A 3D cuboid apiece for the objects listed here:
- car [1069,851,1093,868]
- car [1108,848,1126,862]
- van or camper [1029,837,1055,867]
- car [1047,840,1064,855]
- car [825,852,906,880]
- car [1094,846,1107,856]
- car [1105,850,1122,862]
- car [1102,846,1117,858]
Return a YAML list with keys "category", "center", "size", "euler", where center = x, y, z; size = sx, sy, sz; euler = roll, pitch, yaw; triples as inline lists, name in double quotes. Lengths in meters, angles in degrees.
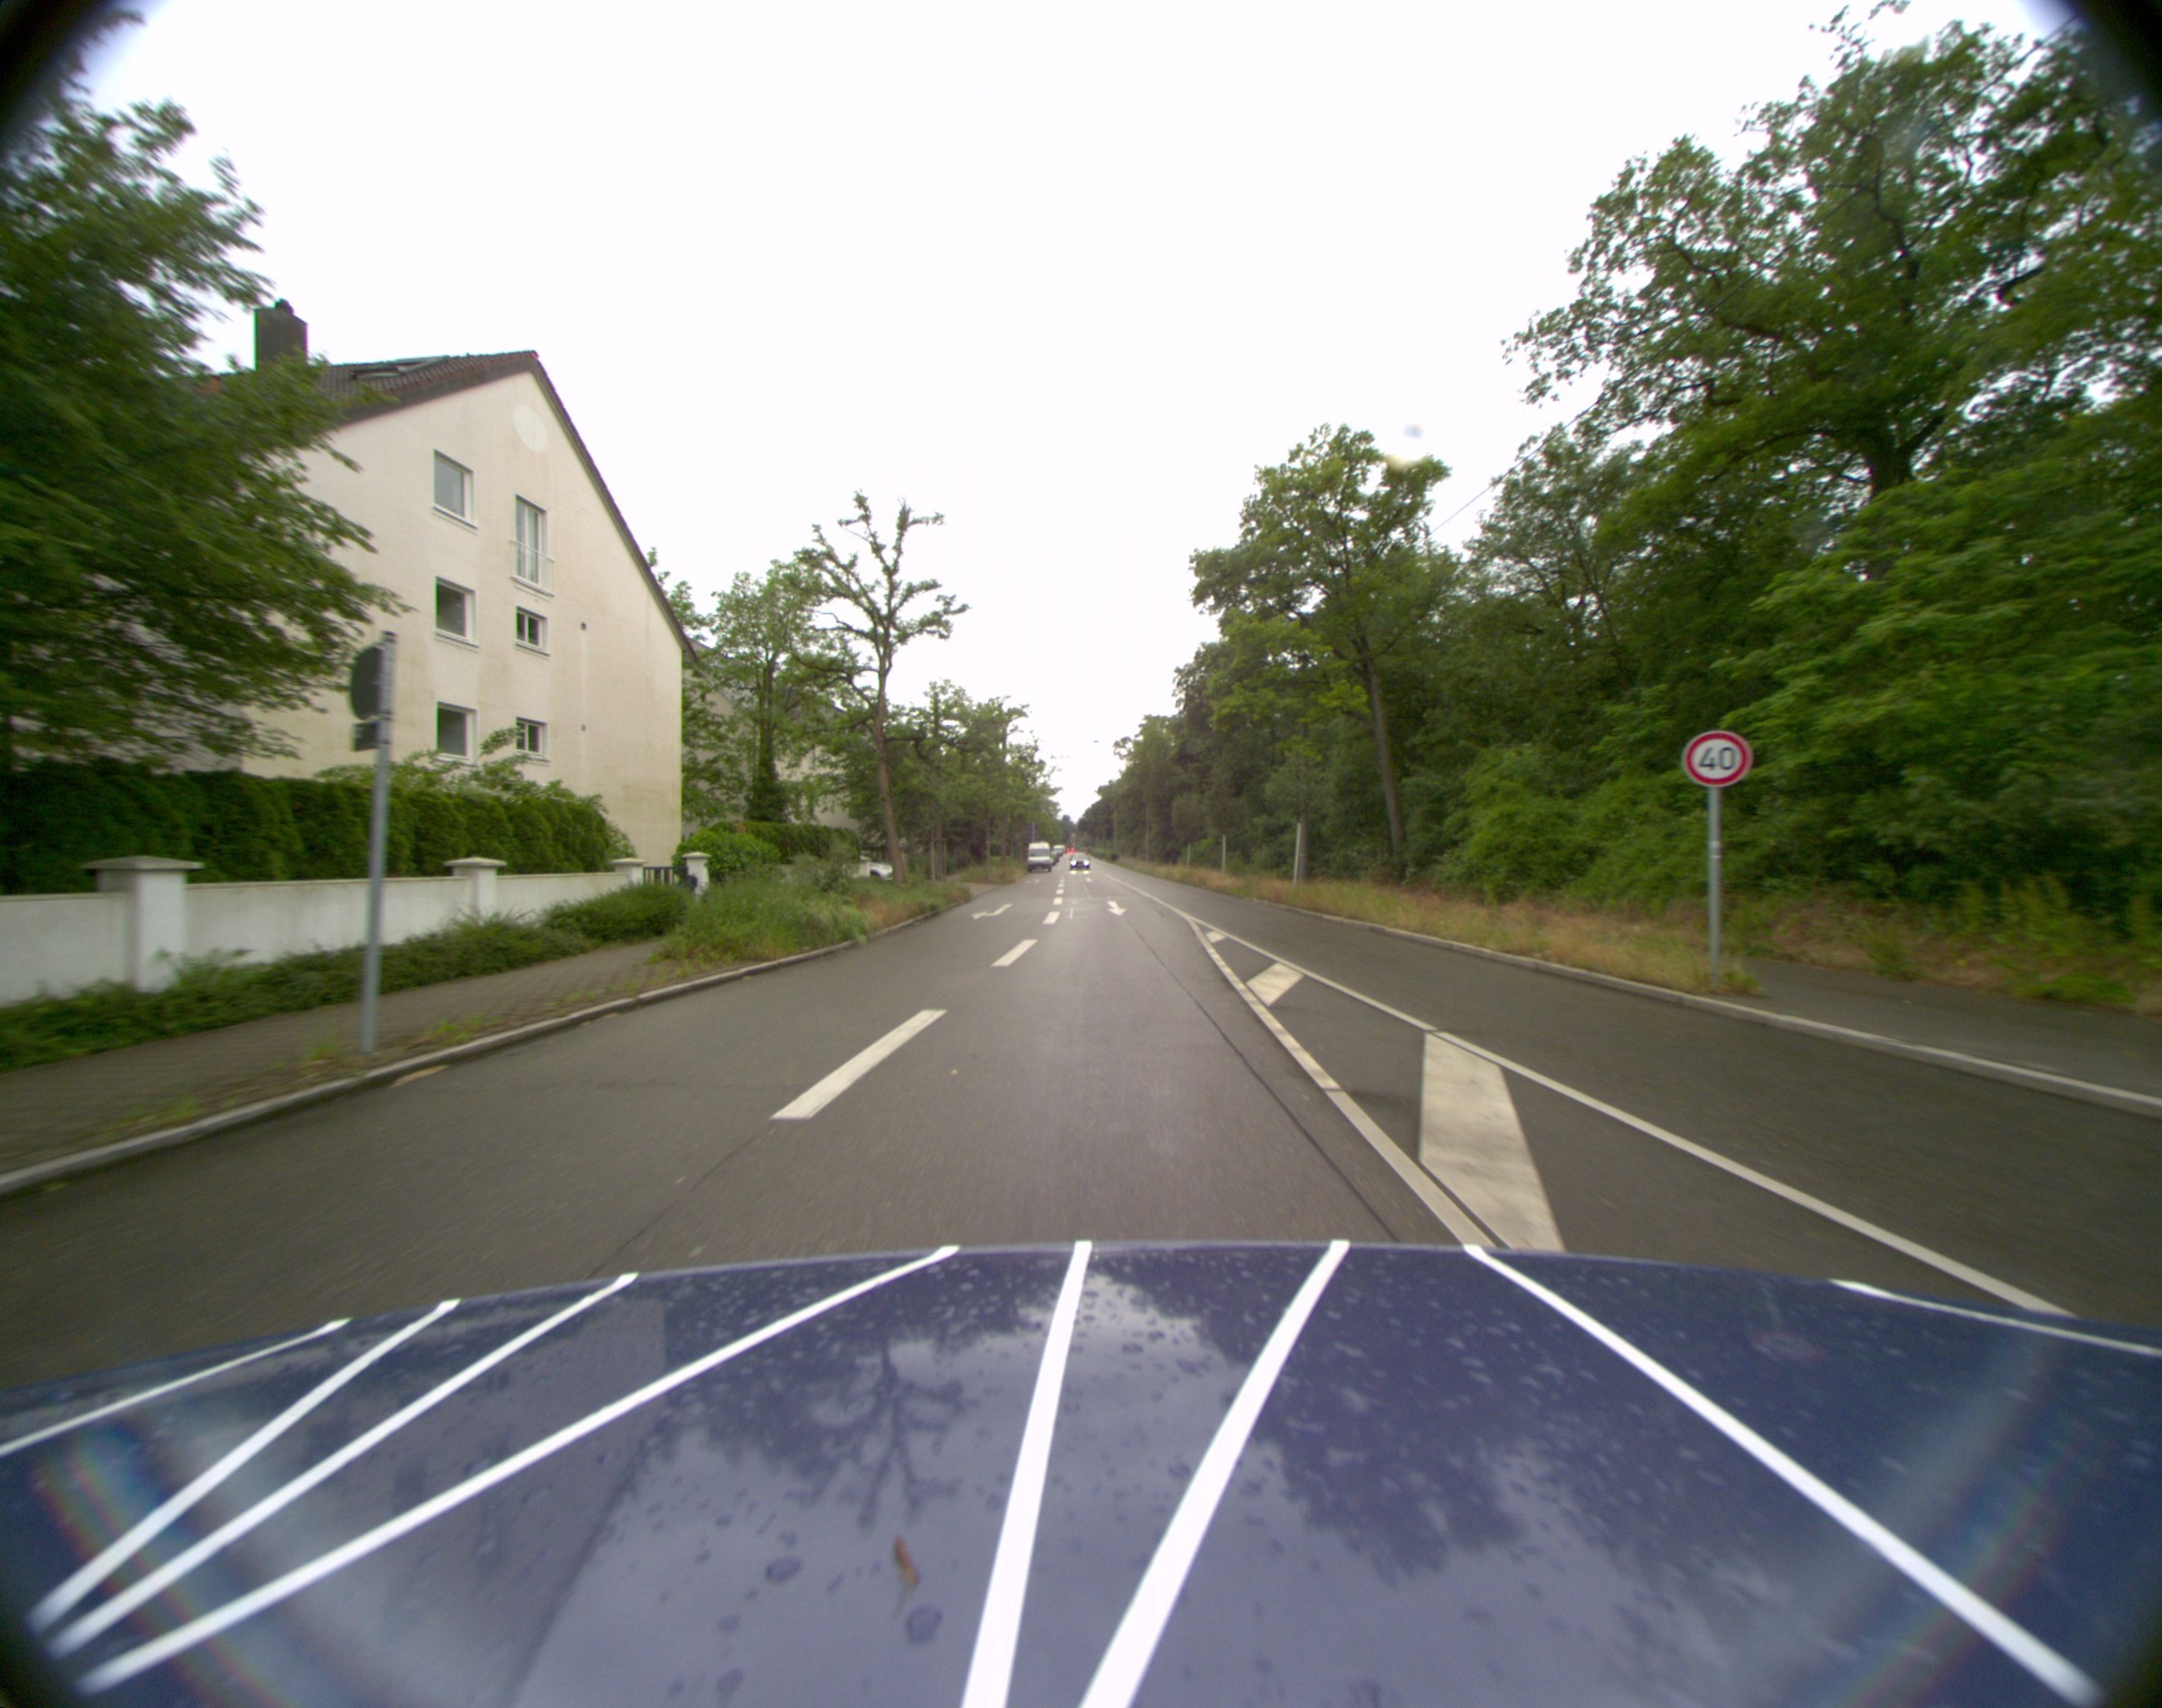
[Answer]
- category: "car"
  center: [0.002, 0.474, 70.522]
  size: [1.945, 1.446, 4.602]
  euler: [1, 0, -3]
- category: "car"
  center: [4.463, 0.111, 95.243]
  size: [1.945, 1.594, 4.603]
  euler: [1, 0, -2]
- category: "van or camper"
  center: [-3.358, -0.179, 66.056]
  size: [1.998, 2.438, 4.721]
  euler: [0, 1, 1]
- category: "car"
  center: [-2.891, -0.738, 86.456]
  size: [1.945, 1.594, 4.603]
  euler: [1, 0, -2]
- category: "car"
  center: [-10.872, 0.585, 38.424]
  size: [3.633, 1.357, 1.537]
  euler: [0, 1, 8]
- category: "car"
  center: [3.185, -0.458, 124.859]
  size: [1.945, 1.594, 4.603]
  euler: [1, 0, -2]
- category: "car"
  center: [4.478, 0.250, 103.797]
  size: [1.945, 1.594, 4.603]
  euler: [1, 0, -2]
- category: "car"
  center: [4.093, -0.271, 110.128]
  size: [1.945, 1.594, 4.603]
  euler: [1, 0, -2]
